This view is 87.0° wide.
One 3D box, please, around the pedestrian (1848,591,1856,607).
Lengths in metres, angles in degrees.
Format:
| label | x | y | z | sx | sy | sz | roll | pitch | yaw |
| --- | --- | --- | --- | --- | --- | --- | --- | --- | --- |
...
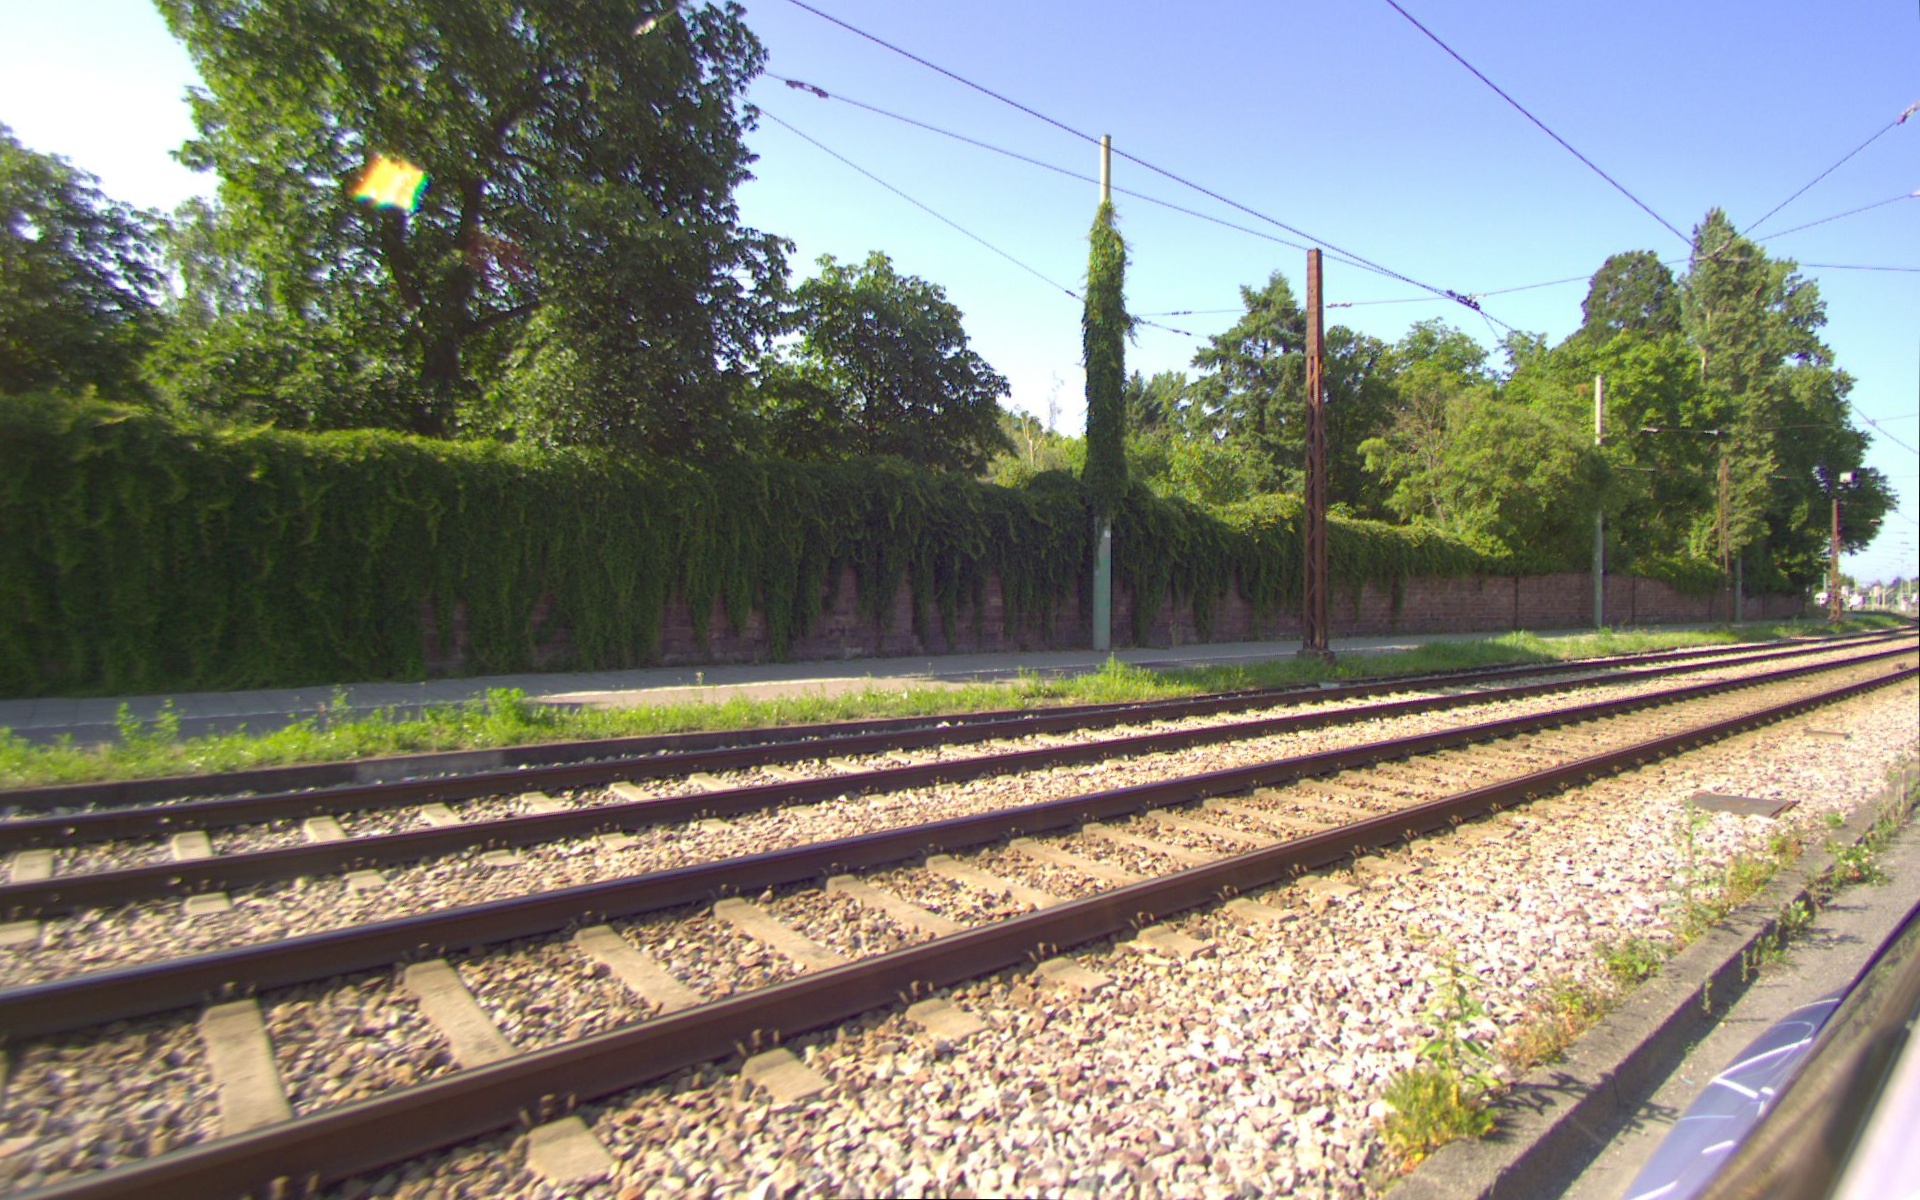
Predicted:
| label | x | y | z | sx | sy | sz | roll | pitch | yaw |
| --- | --- | --- | --- | --- | --- | --- | --- | --- | --- |
| pedestrian | 95.540 | -0.127 | 108.389 | 0.869 | 1.738 | 0.501 | 1 | 1 | -40 |
